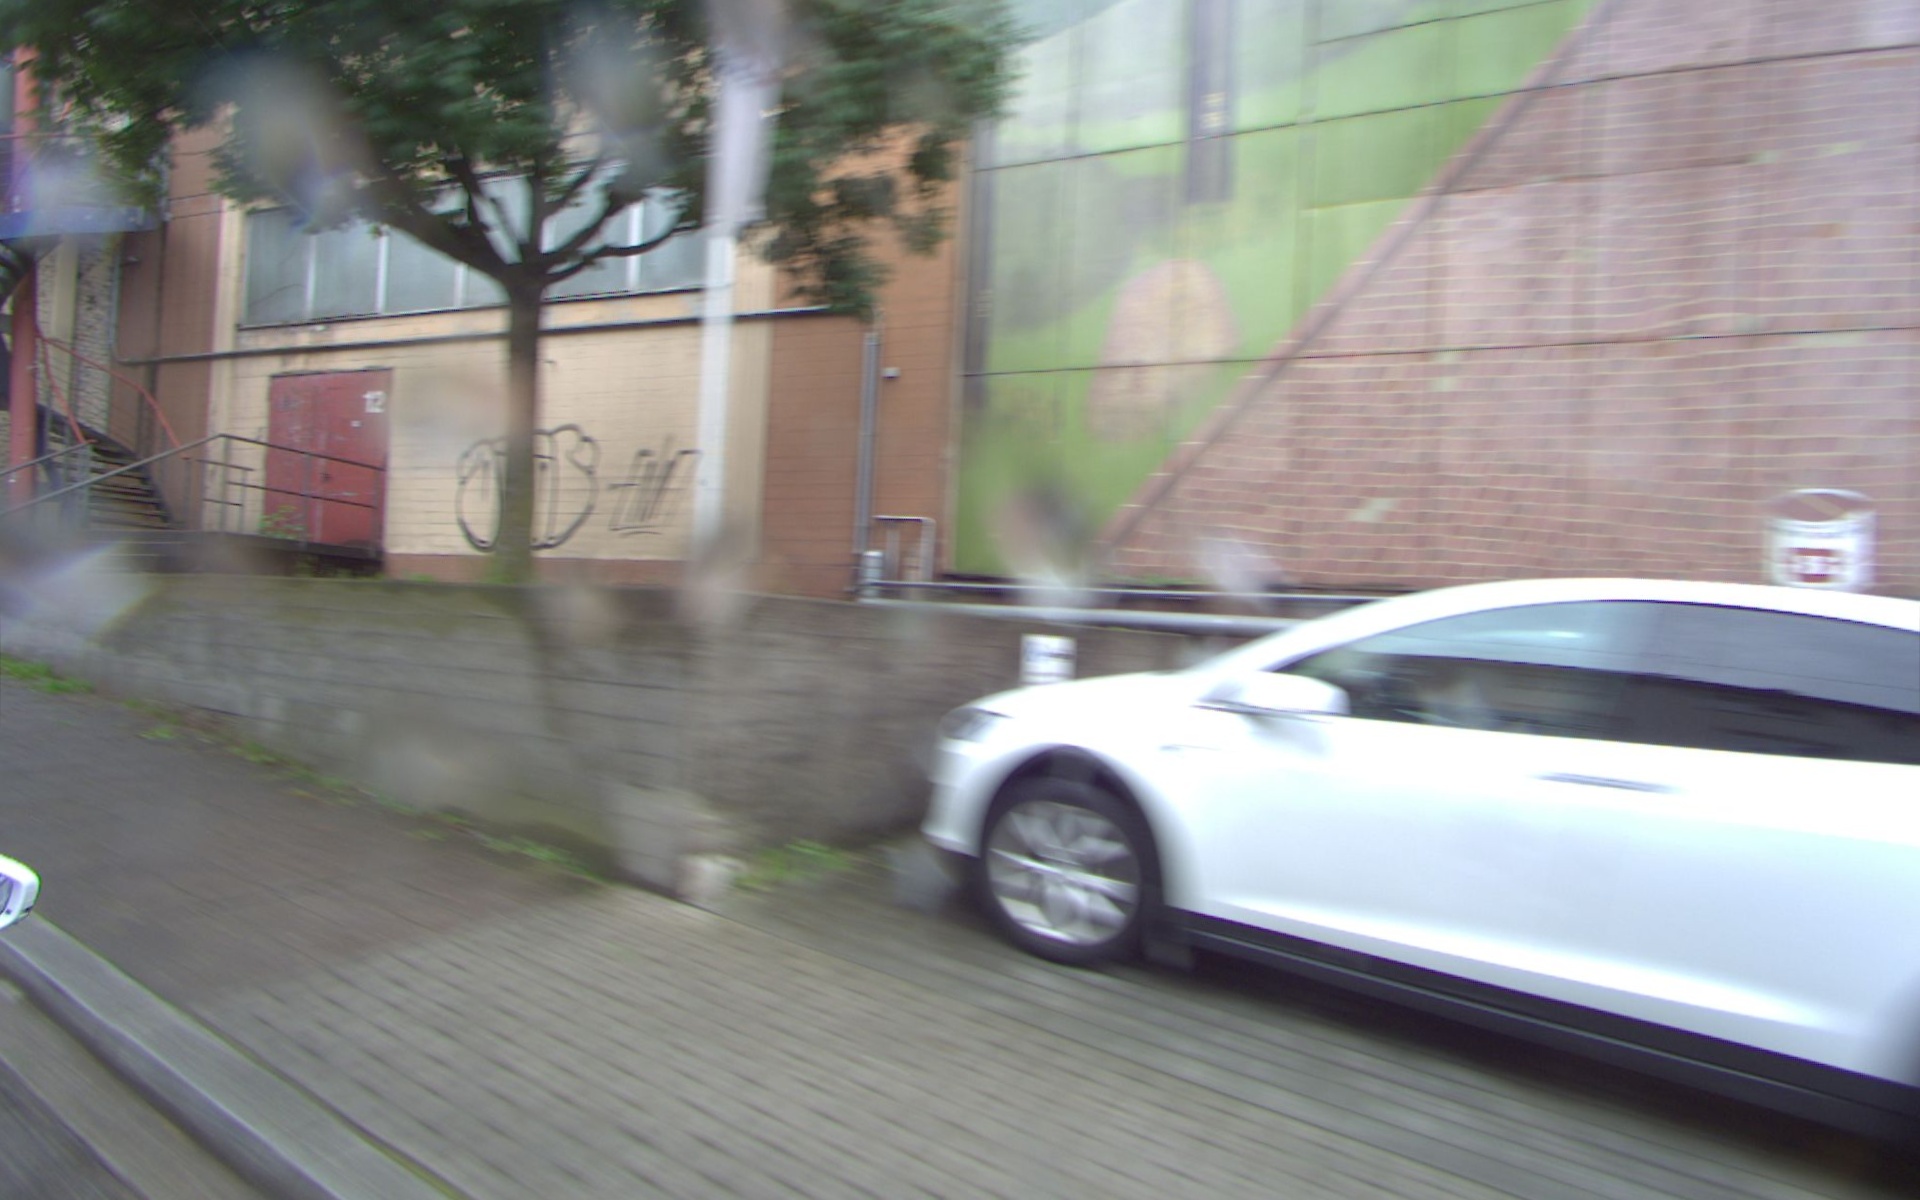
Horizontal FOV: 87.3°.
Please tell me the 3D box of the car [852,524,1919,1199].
[{"bbox_3d":[2.138,0.761,3.820,4.834,1.637,1.855,6,0,32],"label":"car"}]
